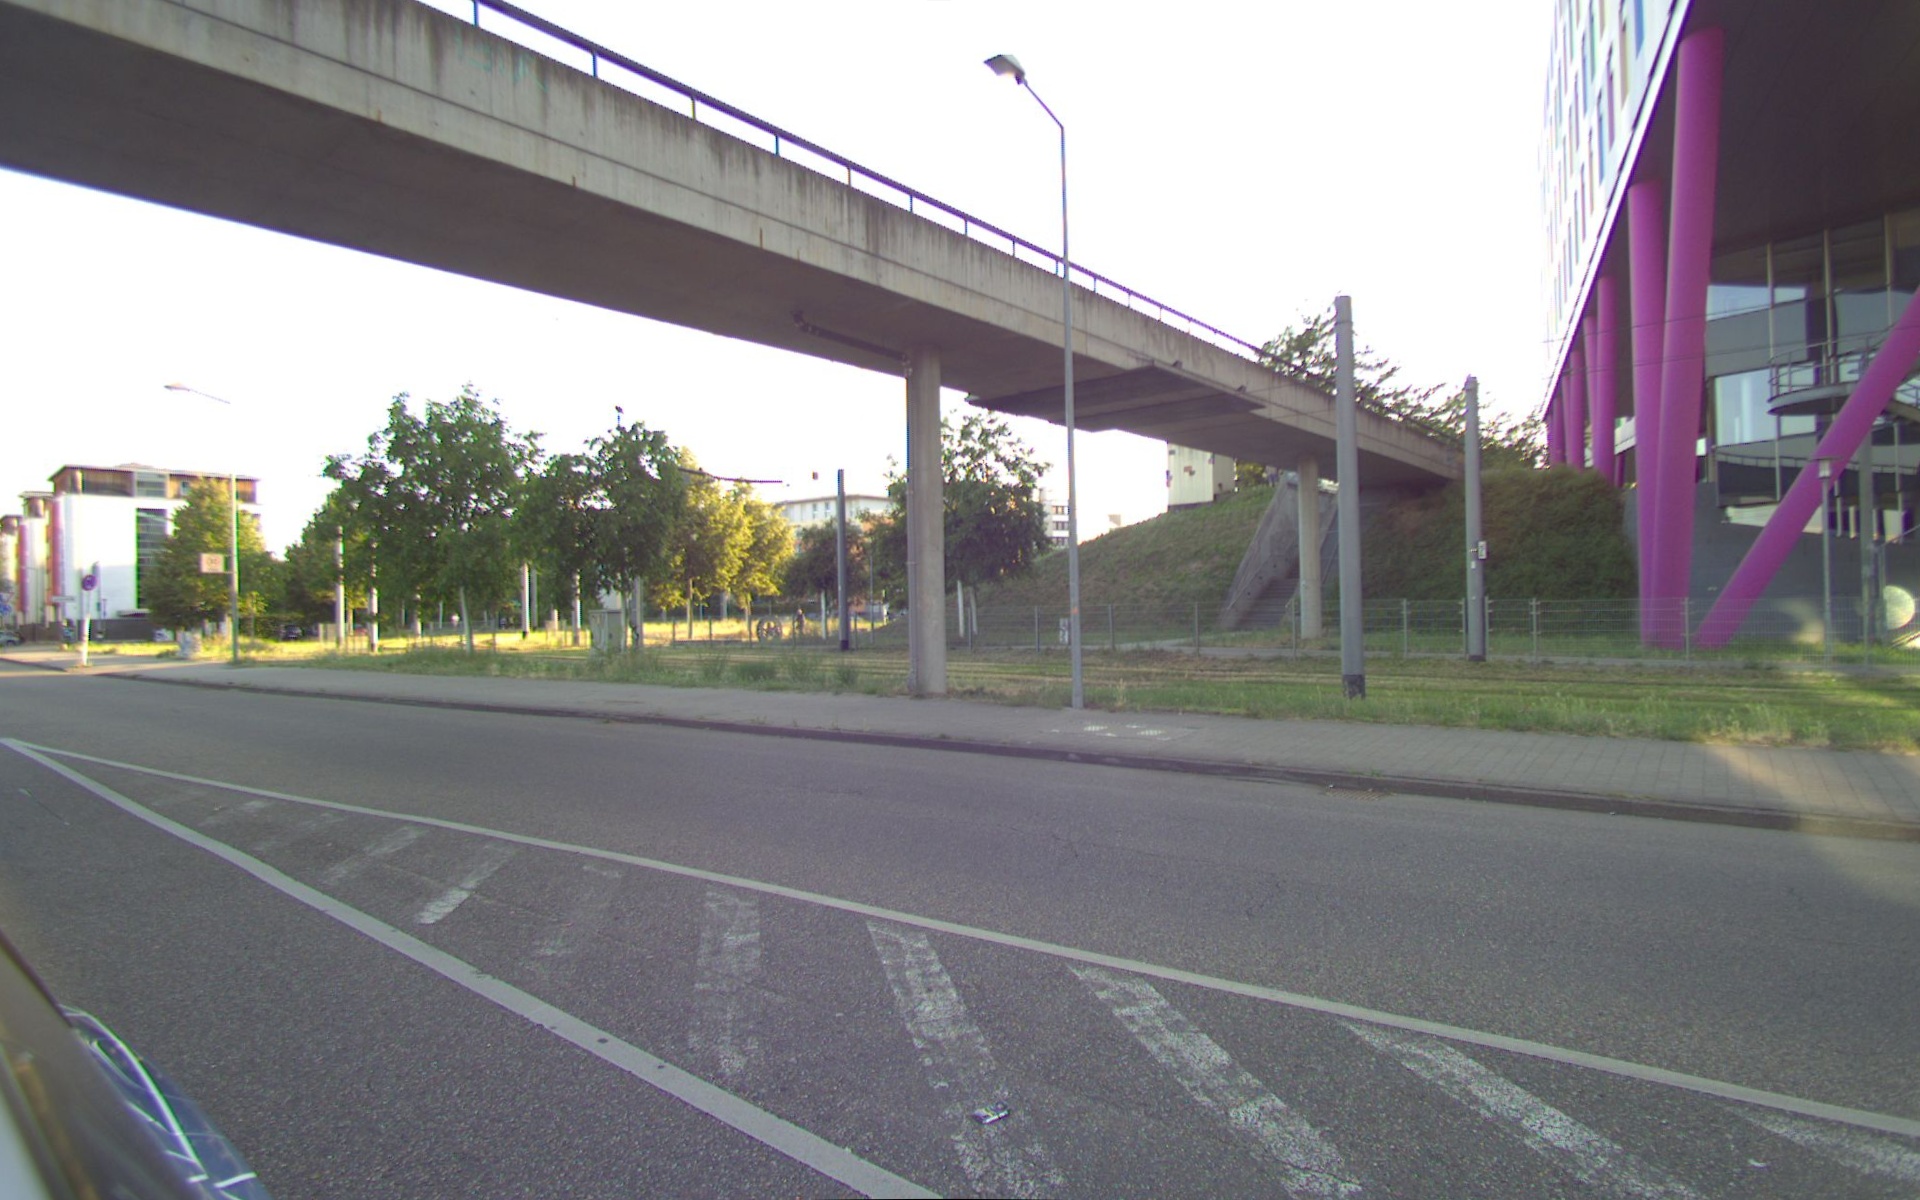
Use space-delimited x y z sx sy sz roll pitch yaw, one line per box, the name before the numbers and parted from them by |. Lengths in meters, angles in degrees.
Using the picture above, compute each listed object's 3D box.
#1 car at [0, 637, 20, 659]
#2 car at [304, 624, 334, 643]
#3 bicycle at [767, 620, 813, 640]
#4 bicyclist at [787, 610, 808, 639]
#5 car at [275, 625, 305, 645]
car | -80.425 4.013 83.565 2.000 1.741 3.944 -2 -1 42
car | -55.069 2.864 86.935 1.913 1.541 4.009 -1 -1 -36
bicycle | -9.412 1.662 56.108 0.654 1.016 2.808 -2 -1 36
bicyclist | -9.071 1.367 56.622 0.716 1.644 0.899 -2 -1 36
car | -56.751 2.954 85.703 1.913 1.541 4.009 -1 -1 -36
